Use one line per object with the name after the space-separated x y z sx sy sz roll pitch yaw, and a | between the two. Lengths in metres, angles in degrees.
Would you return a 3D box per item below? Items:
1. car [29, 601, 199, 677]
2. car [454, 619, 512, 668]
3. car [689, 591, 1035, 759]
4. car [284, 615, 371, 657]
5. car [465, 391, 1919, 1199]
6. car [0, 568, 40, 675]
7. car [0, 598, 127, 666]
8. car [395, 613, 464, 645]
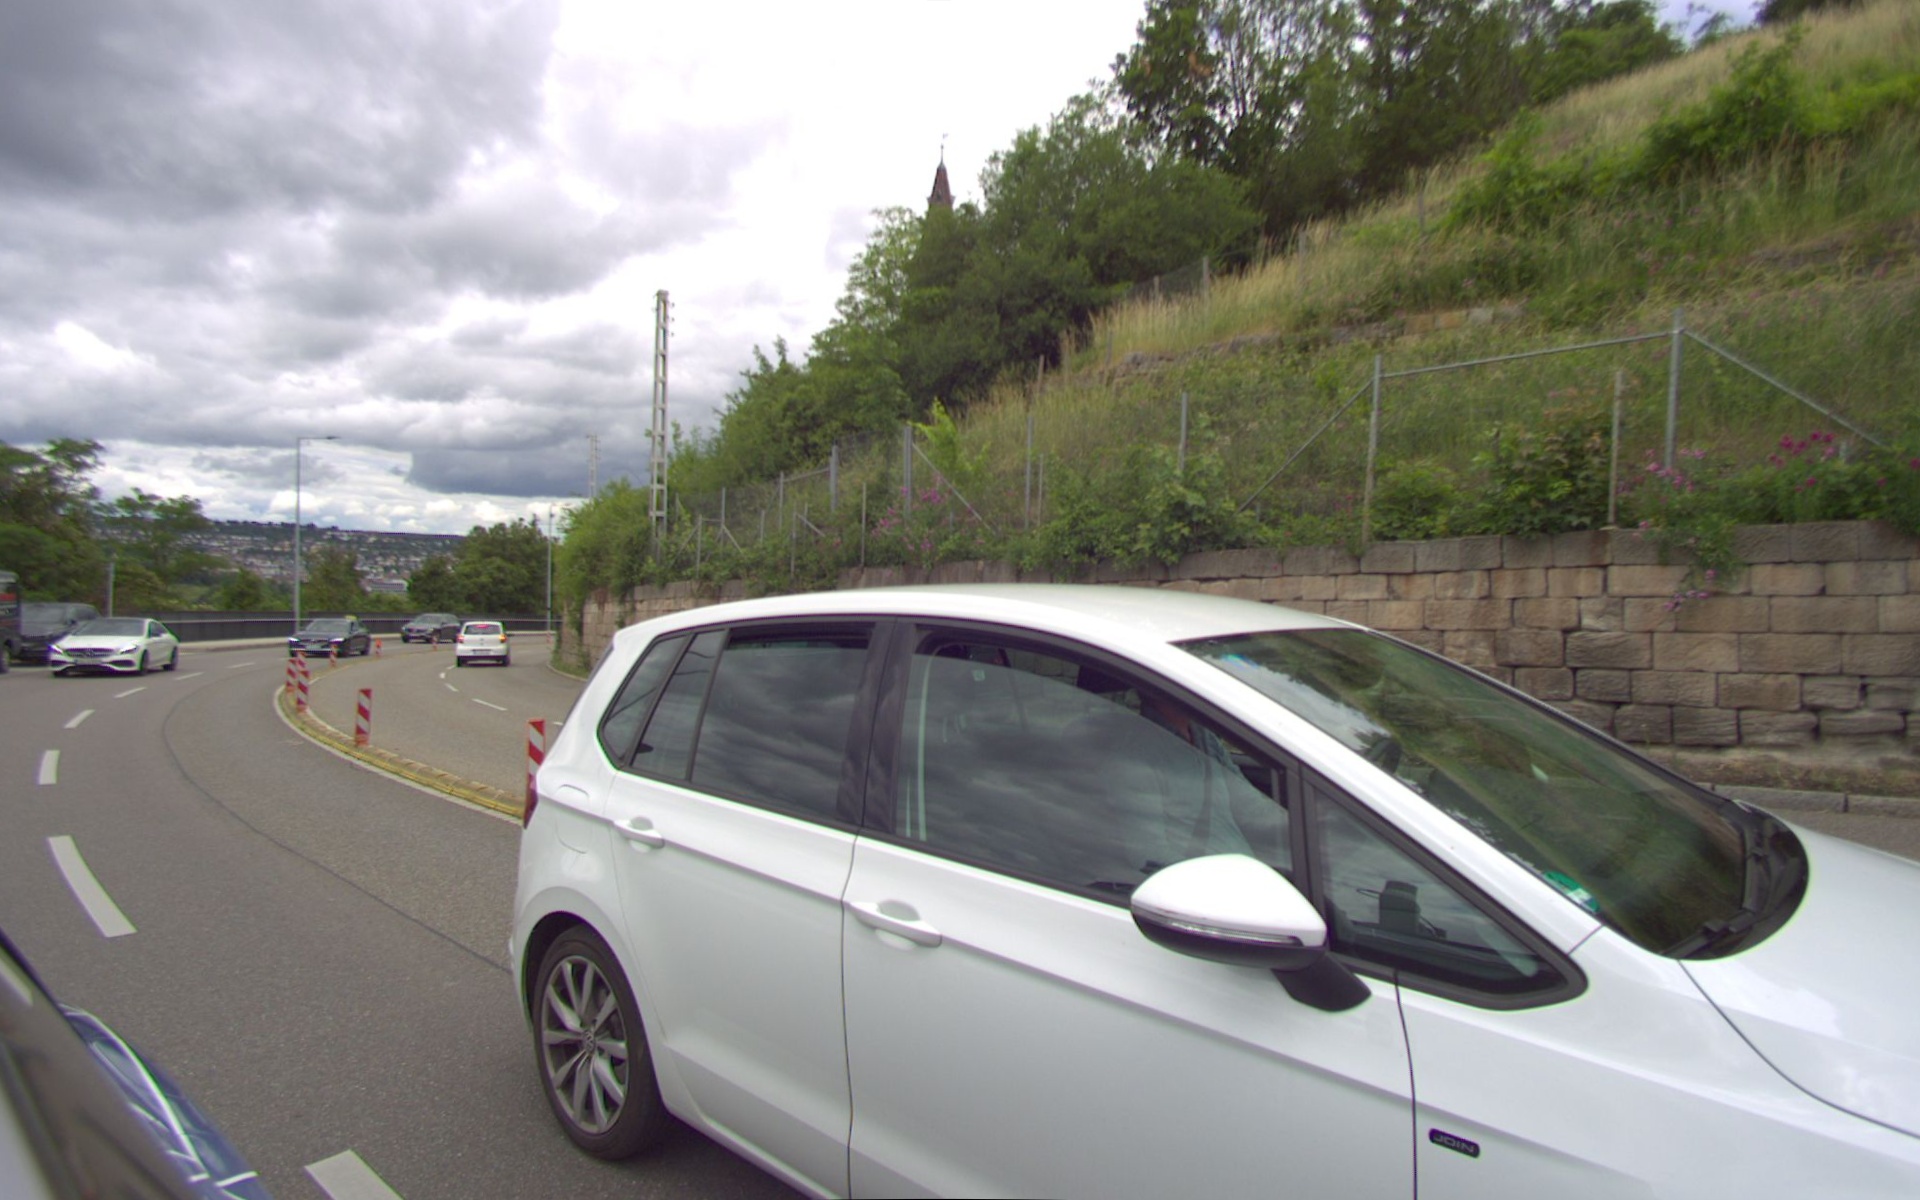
-21.238 0.958 25.636 1.965 1.731 4.013 3 -2 -19 | car
-16.845 1.501 35.858 1.677 1.560 4.013 3 -2 -24 | car
-1.369 0.795 12.691 4.463 1.739 1.823 0 -1 43 | car
-24.068 1.360 38.674 1.869 1.505 4.154 2 -2 -18 | car
0.664 0.582 2.347 4.357 1.592 1.801 -1 2 44 | car
-23.349 0.425 22.874 2.136 2.541 5.789 5 -3 -27 | car
-26.126 0.868 29.092 1.965 1.731 5.066 4 -2 -24 | car
-29.851 1.623 57.099 1.968 1.684 4.545 0 -1 -8 | car
